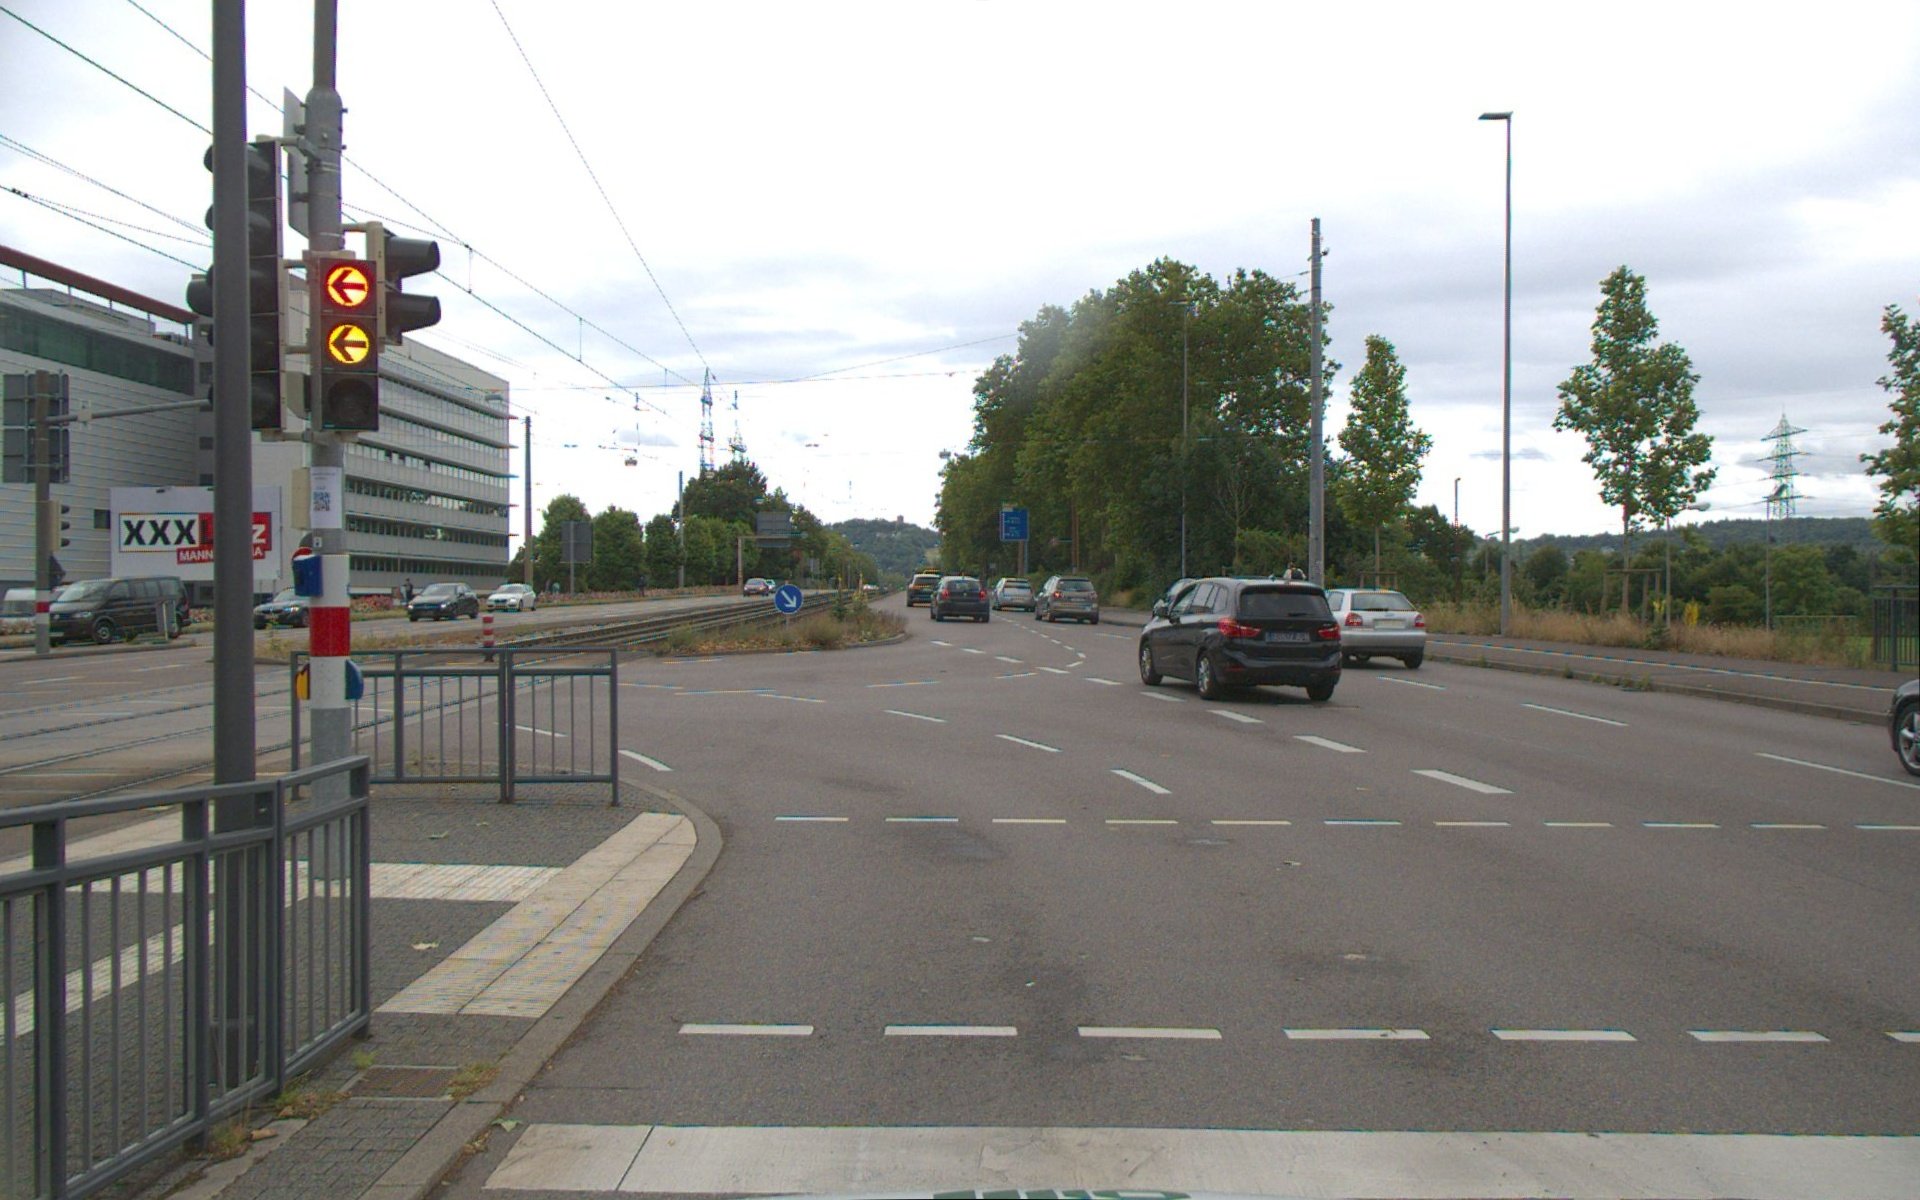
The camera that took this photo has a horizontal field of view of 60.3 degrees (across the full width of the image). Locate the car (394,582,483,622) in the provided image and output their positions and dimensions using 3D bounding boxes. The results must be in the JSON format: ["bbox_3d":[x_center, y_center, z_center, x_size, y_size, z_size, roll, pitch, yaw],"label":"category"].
[{"bbox_3d":[-20.585,0.044,65.490,1.792,1.489,4.211,1,1,6],"label":"car"}]

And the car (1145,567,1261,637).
[{"bbox_3d":[6.015,0.033,41.426,1.821,1.589,4.312,2,0,-6],"label":"car"}]

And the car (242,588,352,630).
[{"bbox_3d":[-24.346,0.297,60.895,1.921,1.489,4.325,0,0,6],"label":"car"}]

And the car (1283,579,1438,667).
[{"bbox_3d":[7.512,0.389,31.327,1.695,1.535,3.628,1,1,-7],"label":"car"}]

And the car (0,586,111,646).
[{"bbox_3d":[-48.517,0.823,88.139,2.702,3.042,6.953,1,0,2],"label":"car"}]

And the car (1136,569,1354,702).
[{"bbox_3d":[3.828,0.427,23.003,1.797,1.665,4.310,0,1,-8],"label":"car"}]

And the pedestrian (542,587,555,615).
[{"bbox_3d":[-25.509,0.061,102.587,0.608,1.682,0.538,1,-1,-37],"label":"pedestrian"}]

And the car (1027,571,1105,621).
[{"bbox_3d":[3.590,-0.136,56.953,1.822,1.589,4.309,2,0,-8],"label":"car"}]

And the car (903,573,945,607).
[{"bbox_3d":[-1.673,-0.430,75.757,1.779,1.506,3.670,1,0,-3],"label":"car"}]

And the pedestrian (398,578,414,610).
[{"bbox_3d":[-30.112,-0.336,89.899,0.667,1.718,0.561,1,-1,3],"label":"pedestrian"}]

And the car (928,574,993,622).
[{"bbox_3d":[-0.010,-0.086,53.373,1.713,1.456,3.371,1,1,-7],"label":"car"}]

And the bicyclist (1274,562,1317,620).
[{"bbox_3d":[8.989,-0.261,44.345,0.802,1.504,0.997,-2,2,-11],"label":"bicyclist"}]

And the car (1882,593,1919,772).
[{"bbox_3d":[8.999,0.712,12.350,1.700,1.504,4.317,0,1,-2],"label":"car"}]

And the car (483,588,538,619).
[{"bbox_3d":[-23.629,0.176,87.136,1.692,1.566,4.047,1,1,1],"label":"car"}]

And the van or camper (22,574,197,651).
[{"bbox_3d":[-25.684,0.332,50.179,2.072,2.048,4.758,-3,1,12],"label":"van or camper"}]

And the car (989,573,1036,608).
[{"bbox_3d":[2.322,-0.398,74.031,1.779,1.506,3.670,1,0,-3],"label":"car"}]

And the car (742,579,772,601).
[{"bbox_3d":[-16.600,-0.828,135.539,1.953,1.758,4.000,1,1,0],"label":"car"}]
